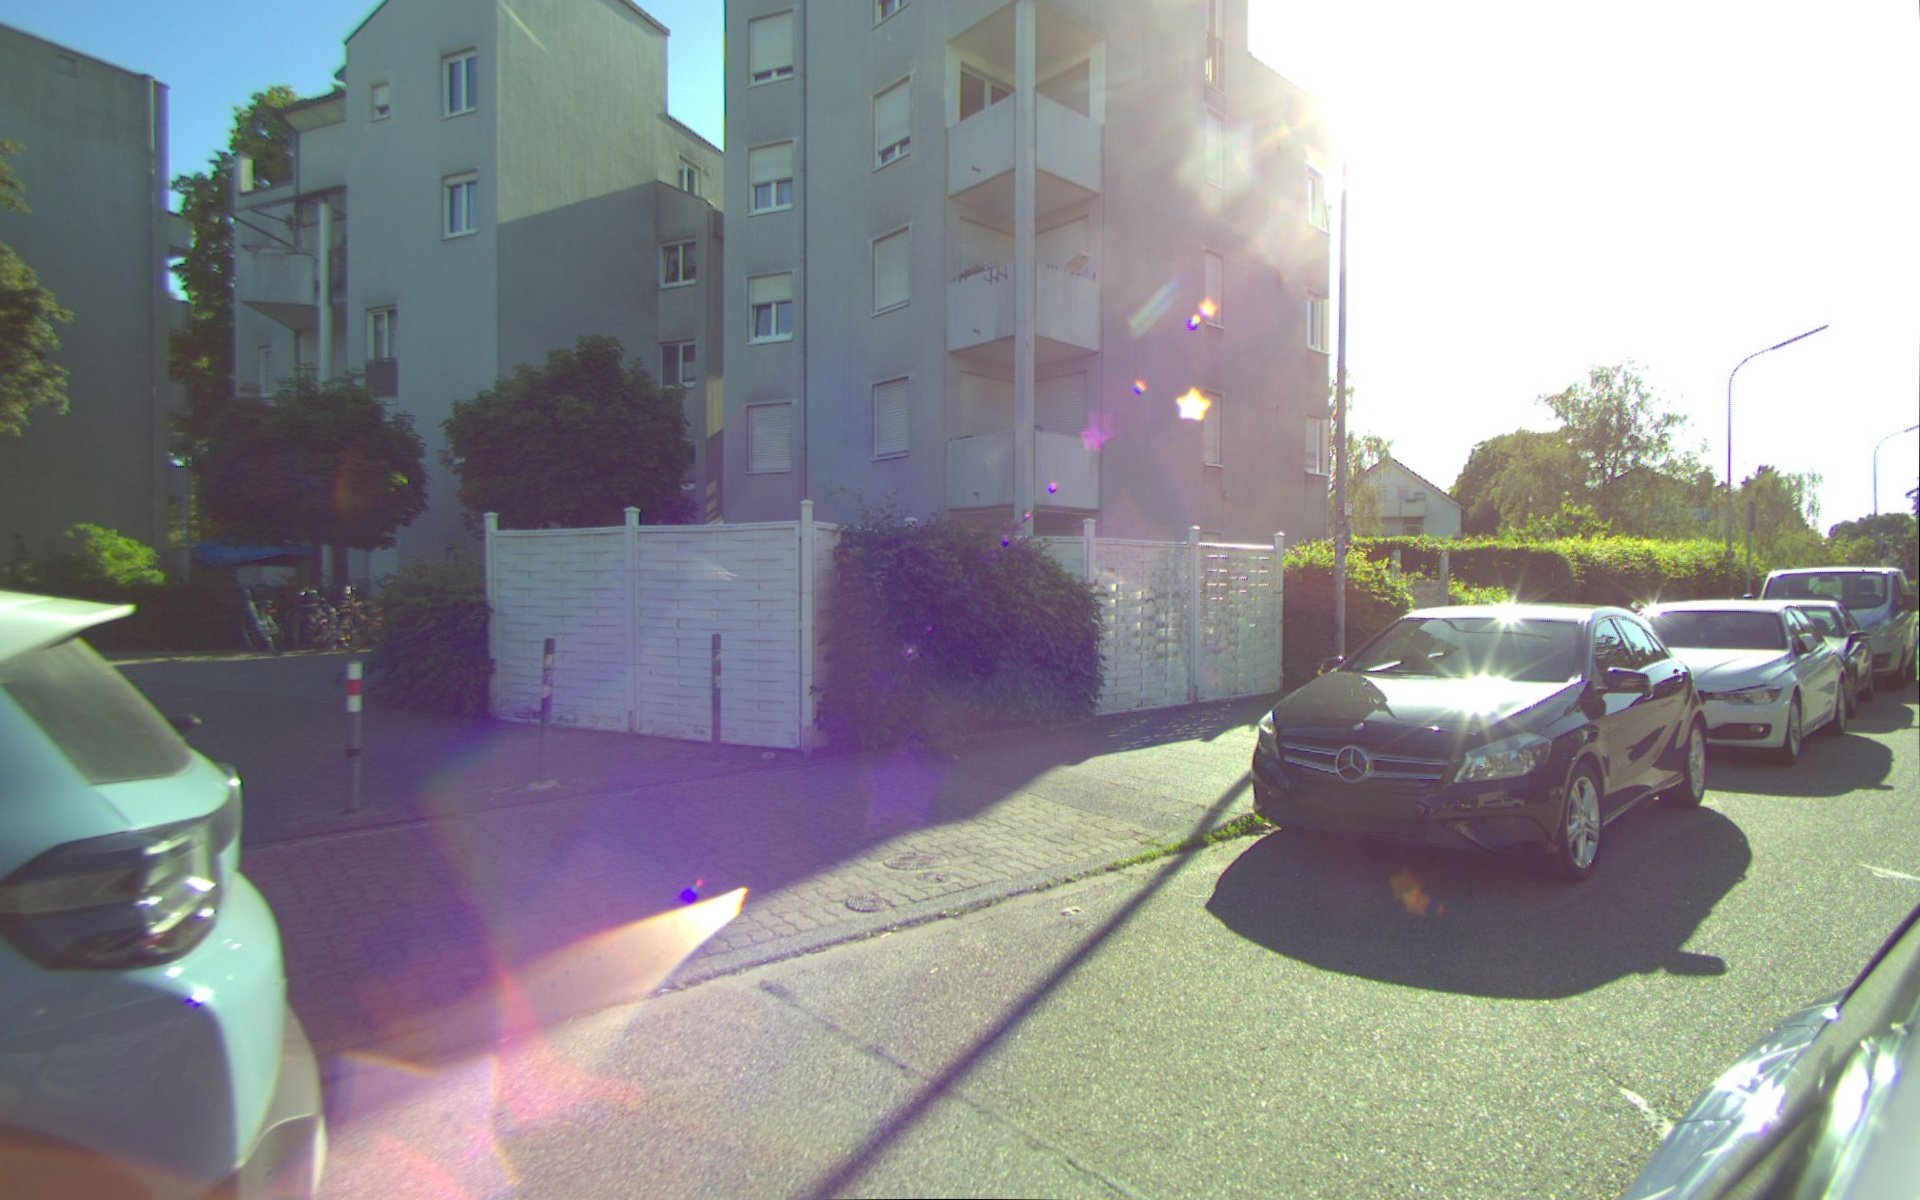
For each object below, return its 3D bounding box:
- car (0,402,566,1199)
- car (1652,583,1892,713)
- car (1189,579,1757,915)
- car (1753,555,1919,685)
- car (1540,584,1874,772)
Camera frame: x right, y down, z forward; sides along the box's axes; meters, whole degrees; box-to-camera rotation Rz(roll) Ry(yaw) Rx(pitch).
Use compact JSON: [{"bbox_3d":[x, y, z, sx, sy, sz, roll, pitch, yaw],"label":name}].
[{"bbox_3d":[-2.935,0.585,1.106,4.299,1.687,1.913,-1,2,-41],"label":"car"},{"bbox_3d":[11.195,0.501,13.813,4.843,1.434,1.995,-1,2,-44],"label":"car"},{"bbox_3d":[3.599,0.620,6.721,4.299,1.507,1.913,-1,2,-41],"label":"car"},{"bbox_3d":[15.502,0.242,17.583,4.870,1.936,1.996,-1,2,-43],"label":"car"},{"bbox_3d":[7.827,0.610,10.454,4.299,1.507,1.913,-1,2,-41],"label":"car"}]
